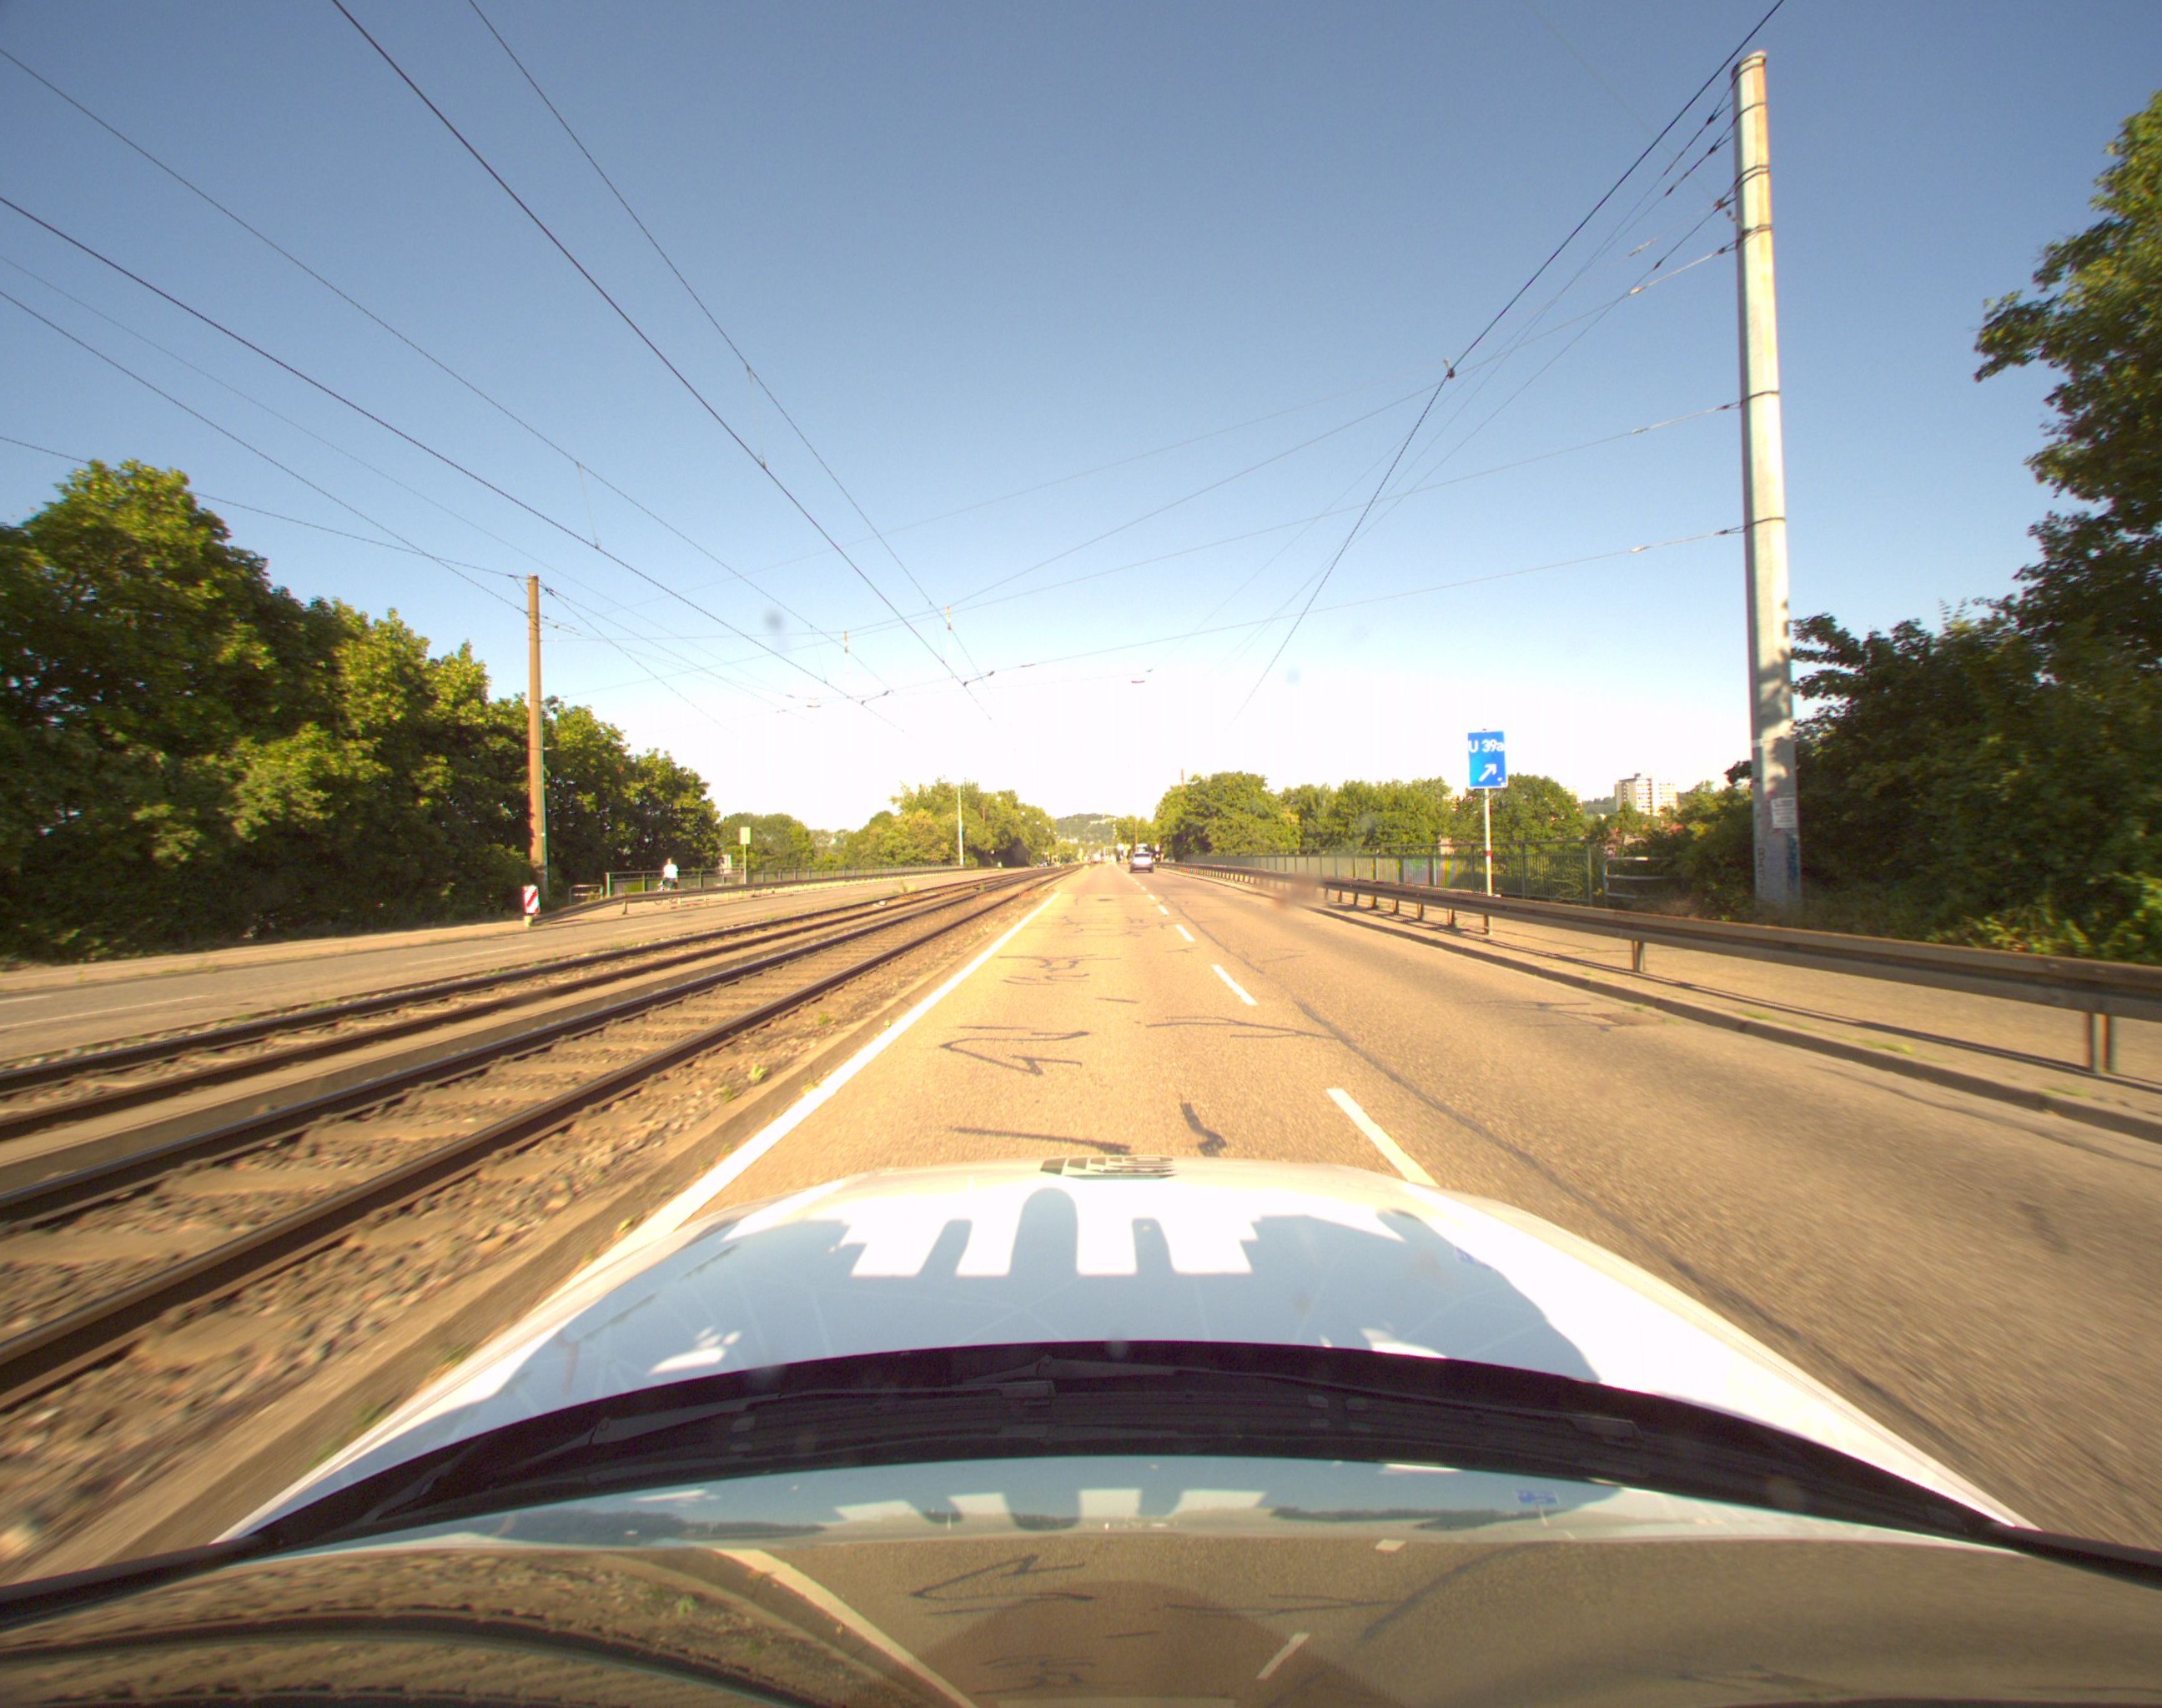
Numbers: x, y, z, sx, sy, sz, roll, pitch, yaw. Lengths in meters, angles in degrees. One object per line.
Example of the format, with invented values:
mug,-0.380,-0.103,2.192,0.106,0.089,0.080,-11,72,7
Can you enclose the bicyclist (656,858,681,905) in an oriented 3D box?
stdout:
bicyclist,-16.755,1.104,33.111,0.538,1.862,0.875,0,0,1

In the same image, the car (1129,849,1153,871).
car,4.943,0.494,66.882,1.880,1.693,4.261,-2,0,4

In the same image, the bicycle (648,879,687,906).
bicycle,-16.753,1.544,33.043,0.538,1.043,1.926,0,0,2

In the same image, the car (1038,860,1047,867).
car,-9.110,2.350,193.623,1.986,1.618,4.001,0,0,1
